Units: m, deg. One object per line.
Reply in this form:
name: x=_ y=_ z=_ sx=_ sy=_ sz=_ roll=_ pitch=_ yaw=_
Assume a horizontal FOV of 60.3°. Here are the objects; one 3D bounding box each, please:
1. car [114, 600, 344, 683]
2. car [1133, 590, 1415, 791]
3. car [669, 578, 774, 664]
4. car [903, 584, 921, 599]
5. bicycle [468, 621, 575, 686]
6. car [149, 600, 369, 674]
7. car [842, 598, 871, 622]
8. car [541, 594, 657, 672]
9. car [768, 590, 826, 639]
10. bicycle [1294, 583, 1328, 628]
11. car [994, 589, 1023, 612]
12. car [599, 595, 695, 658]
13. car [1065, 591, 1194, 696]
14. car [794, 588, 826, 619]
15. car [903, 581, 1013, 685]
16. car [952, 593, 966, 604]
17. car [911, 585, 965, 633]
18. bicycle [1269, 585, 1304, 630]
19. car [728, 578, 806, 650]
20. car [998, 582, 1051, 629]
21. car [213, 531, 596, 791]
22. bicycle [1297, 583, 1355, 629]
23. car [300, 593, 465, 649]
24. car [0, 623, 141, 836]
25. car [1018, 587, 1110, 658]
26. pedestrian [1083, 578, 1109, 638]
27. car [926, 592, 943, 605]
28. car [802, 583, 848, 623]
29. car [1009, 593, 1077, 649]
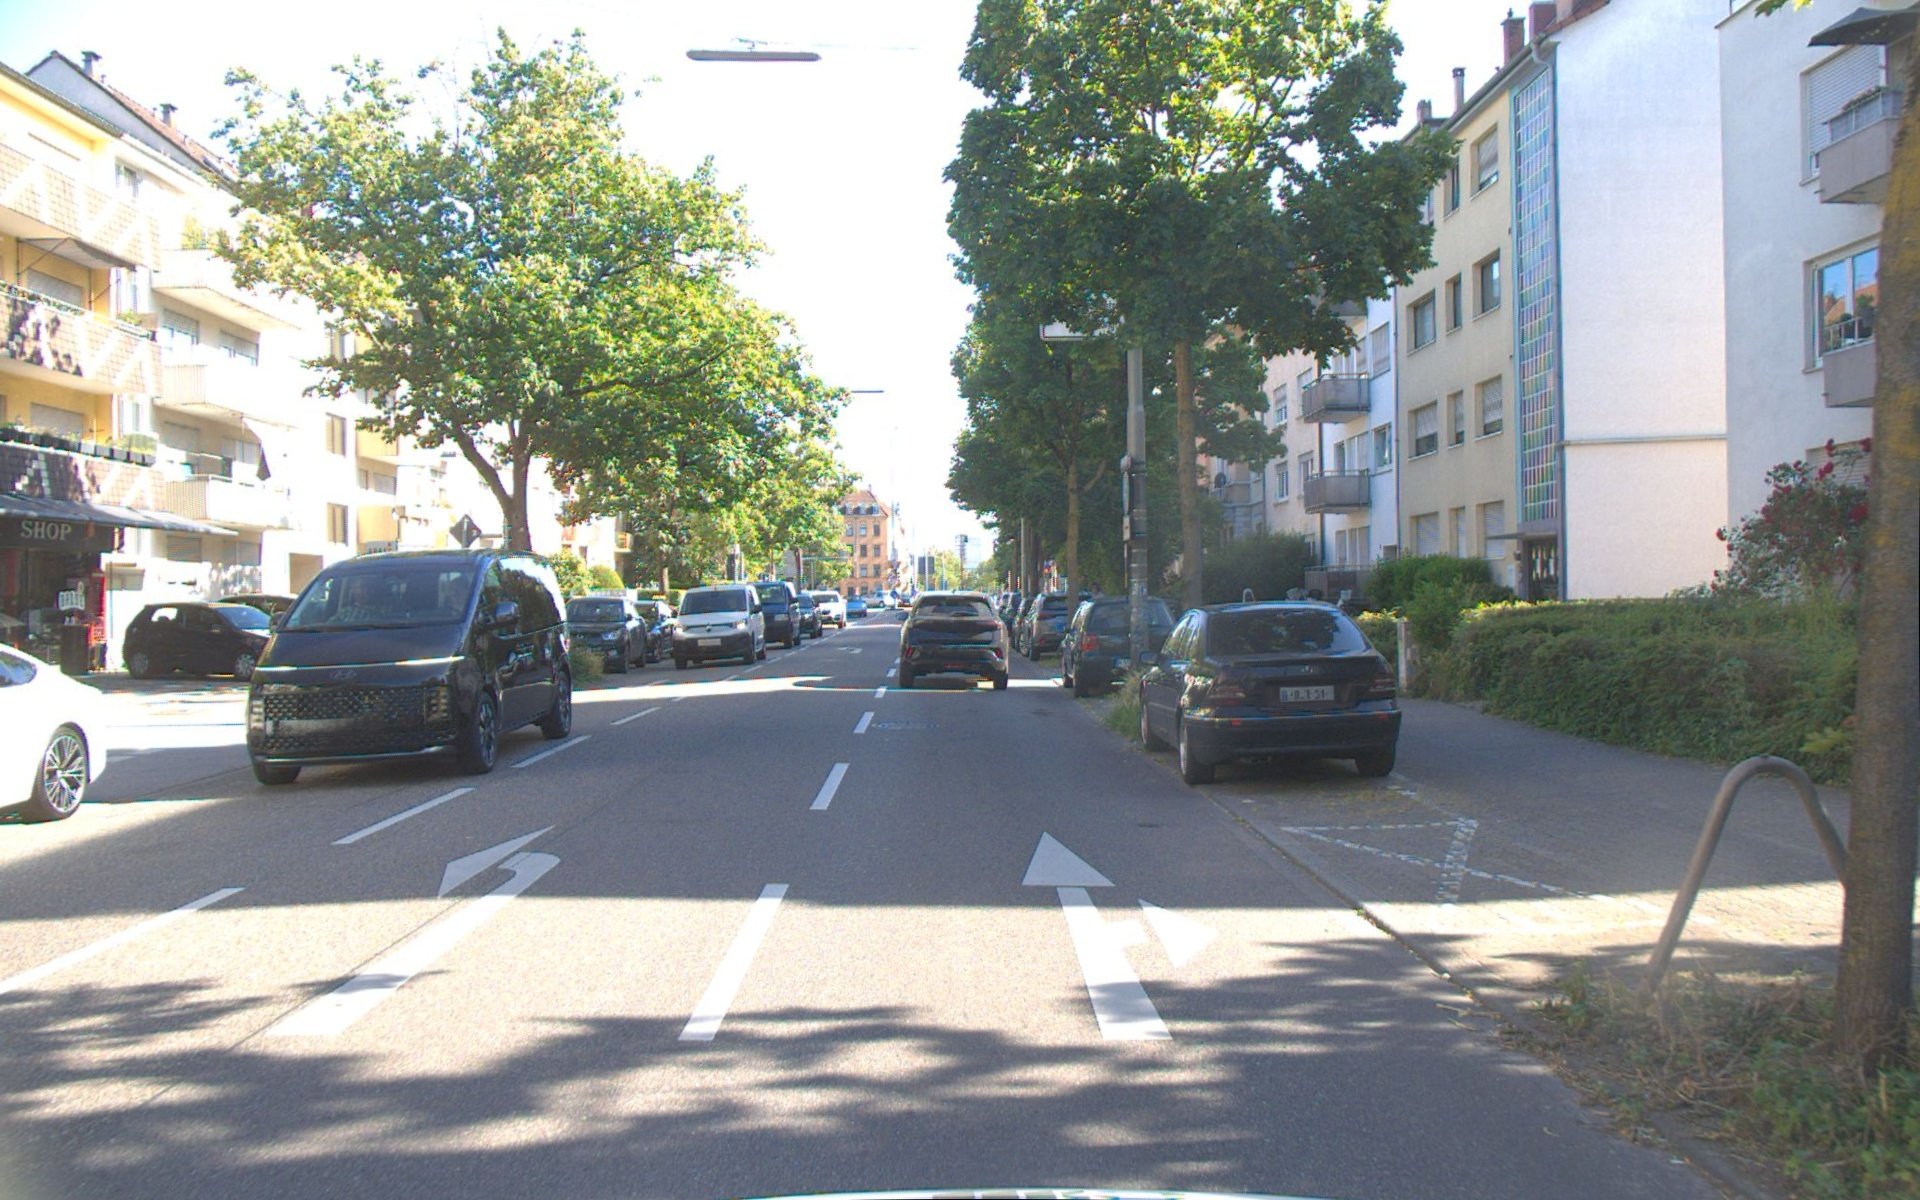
car: x=-14.136 y=0.770 z=32.031 sx=3.903 sy=1.481 sz=1.734 roll=0 pitch=1 yaw=17
car: x=2.559 y=0.656 z=14.477 sx=1.554 sy=1.420 sz=4.453 roll=-2 pitch=0 yaw=0
car: x=-5.436 y=0.456 z=38.172 sx=1.779 sy=1.773 sz=4.492 roll=-3 pitch=0 yaw=-2
car: x=-4.844 y=-0.873 z=168.446 sx=1.735 sy=1.478 sz=3.885 roll=-1 pitch=0 yaw=0
bicycle: x=-7.908 y=0.947 z=29.791 sx=1.982 sy=1.111 sz=0.462 roll=0 pitch=1 yaw=22
car: x=-14.672 y=0.750 z=34.704 sx=3.902 sy=1.486 sz=1.734 roll=0 pitch=1 yaw=8
car: x=-6.823 y=0.634 z=109.193 sx=1.702 sy=1.405 sz=3.935 roll=-2 pitch=1 yaw=-2
car: x=-7.875 y=0.679 z=36.396 sx=1.687 sy=1.624 sz=4.135 roll=0 pitch=0 yaw=-1
car: x=-5.889 y=0.493 z=60.120 sx=1.684 sy=1.593 sz=4.341 roll=-3 pitch=0 yaw=-1
bicycle: x=10.628 y=0.163 z=50.169 sx=0.579 sy=1.309 sz=1.689 roll=-3 pitch=0 yaw=-1
car: x=3.249 y=0.016 z=111.714 sx=1.792 sy=1.478 sz=3.987 roll=-1 pitch=0 yaw=0
car: x=-8.145 y=0.651 z=43.359 sx=1.687 sy=1.562 sz=4.679 roll=0 pitch=0 yaw=-1
car: x=2.530 y=0.606 z=25.542 sx=1.657 sy=1.453 sz=4.148 roll=-1 pitch=0 yaw=2
car: x=-9.332 y=0.202 z=103.032 sx=1.782 sy=1.866 sz=4.560 roll=-1 pitch=0 yaw=-3
car: x=-0.059 y=0.513 z=27.501 sx=1.710 sy=1.601 sz=3.557 roll=0 pitch=0 yaw=-1
car: x=-0.103 y=-0.236 z=243.869 sx=1.952 sy=1.546 sz=4.000 roll=2 pitch=0 yaw=1
car: x=-0.765 y=0.287 z=58.112 sx=1.792 sy=1.606 sz=3.839 roll=-1 pitch=0 yaw=0
bicycle: x=9.923 y=0.219 z=50.268 sx=0.610 sy=1.309 sz=1.842 roll=-3 pitch=0 yaw=-1
car: x=-5.690 y=0.376 z=49.227 sx=1.767 sy=1.944 sz=4.711 roll=-3 pitch=0 yaw=-1
car: x=2.283 y=0.186 z=59.507 sx=1.528 sy=1.541 sz=3.653 roll=-3 pitch=0 yaw=-3
car: x=-5.011 y=0.469 z=15.835 sx=1.976 sy=1.986 sz=5.176 roll=-3 pitch=0 yaw=-2
bicycle: x=10.709 y=0.181 z=48.406 sx=1.506 sy=1.244 sz=0.463 roll=-4 pitch=0 yaw=30
car: x=-15.978 y=0.572 z=45.902 sx=3.906 sy=1.512 sz=1.880 roll=0 pitch=1 yaw=-2
car: x=-7.436 y=0.905 z=10.867 sx=1.796 sy=1.413 sz=4.801 roll=0 pitch=0 yaw=-1
car: x=2.358 y=0.478 z=38.359 sx=1.680 sy=1.515 sz=4.232 roll=-1 pitch=0 yaw=-2
pedestrian: x=3.960 y=0.235 z=48.174 sx=0.656 sy=1.711 sz=0.775 roll=-1 pitch=0 yaw=-1
car: x=-3.137 y=-0.192 z=203.694 sx=1.772 sy=1.431 sz=4.001 roll=-1 pitch=0 yaw=2
car: x=-6.134 y=0.133 z=75.593 sx=1.770 sy=1.676 sz=4.671 roll=-3 pitch=0 yaw=-2
car: x=2.178 y=0.527 z=44.182 sx=1.579 sy=1.407 sz=3.976 roll=-1 pitch=0 yaw=0
